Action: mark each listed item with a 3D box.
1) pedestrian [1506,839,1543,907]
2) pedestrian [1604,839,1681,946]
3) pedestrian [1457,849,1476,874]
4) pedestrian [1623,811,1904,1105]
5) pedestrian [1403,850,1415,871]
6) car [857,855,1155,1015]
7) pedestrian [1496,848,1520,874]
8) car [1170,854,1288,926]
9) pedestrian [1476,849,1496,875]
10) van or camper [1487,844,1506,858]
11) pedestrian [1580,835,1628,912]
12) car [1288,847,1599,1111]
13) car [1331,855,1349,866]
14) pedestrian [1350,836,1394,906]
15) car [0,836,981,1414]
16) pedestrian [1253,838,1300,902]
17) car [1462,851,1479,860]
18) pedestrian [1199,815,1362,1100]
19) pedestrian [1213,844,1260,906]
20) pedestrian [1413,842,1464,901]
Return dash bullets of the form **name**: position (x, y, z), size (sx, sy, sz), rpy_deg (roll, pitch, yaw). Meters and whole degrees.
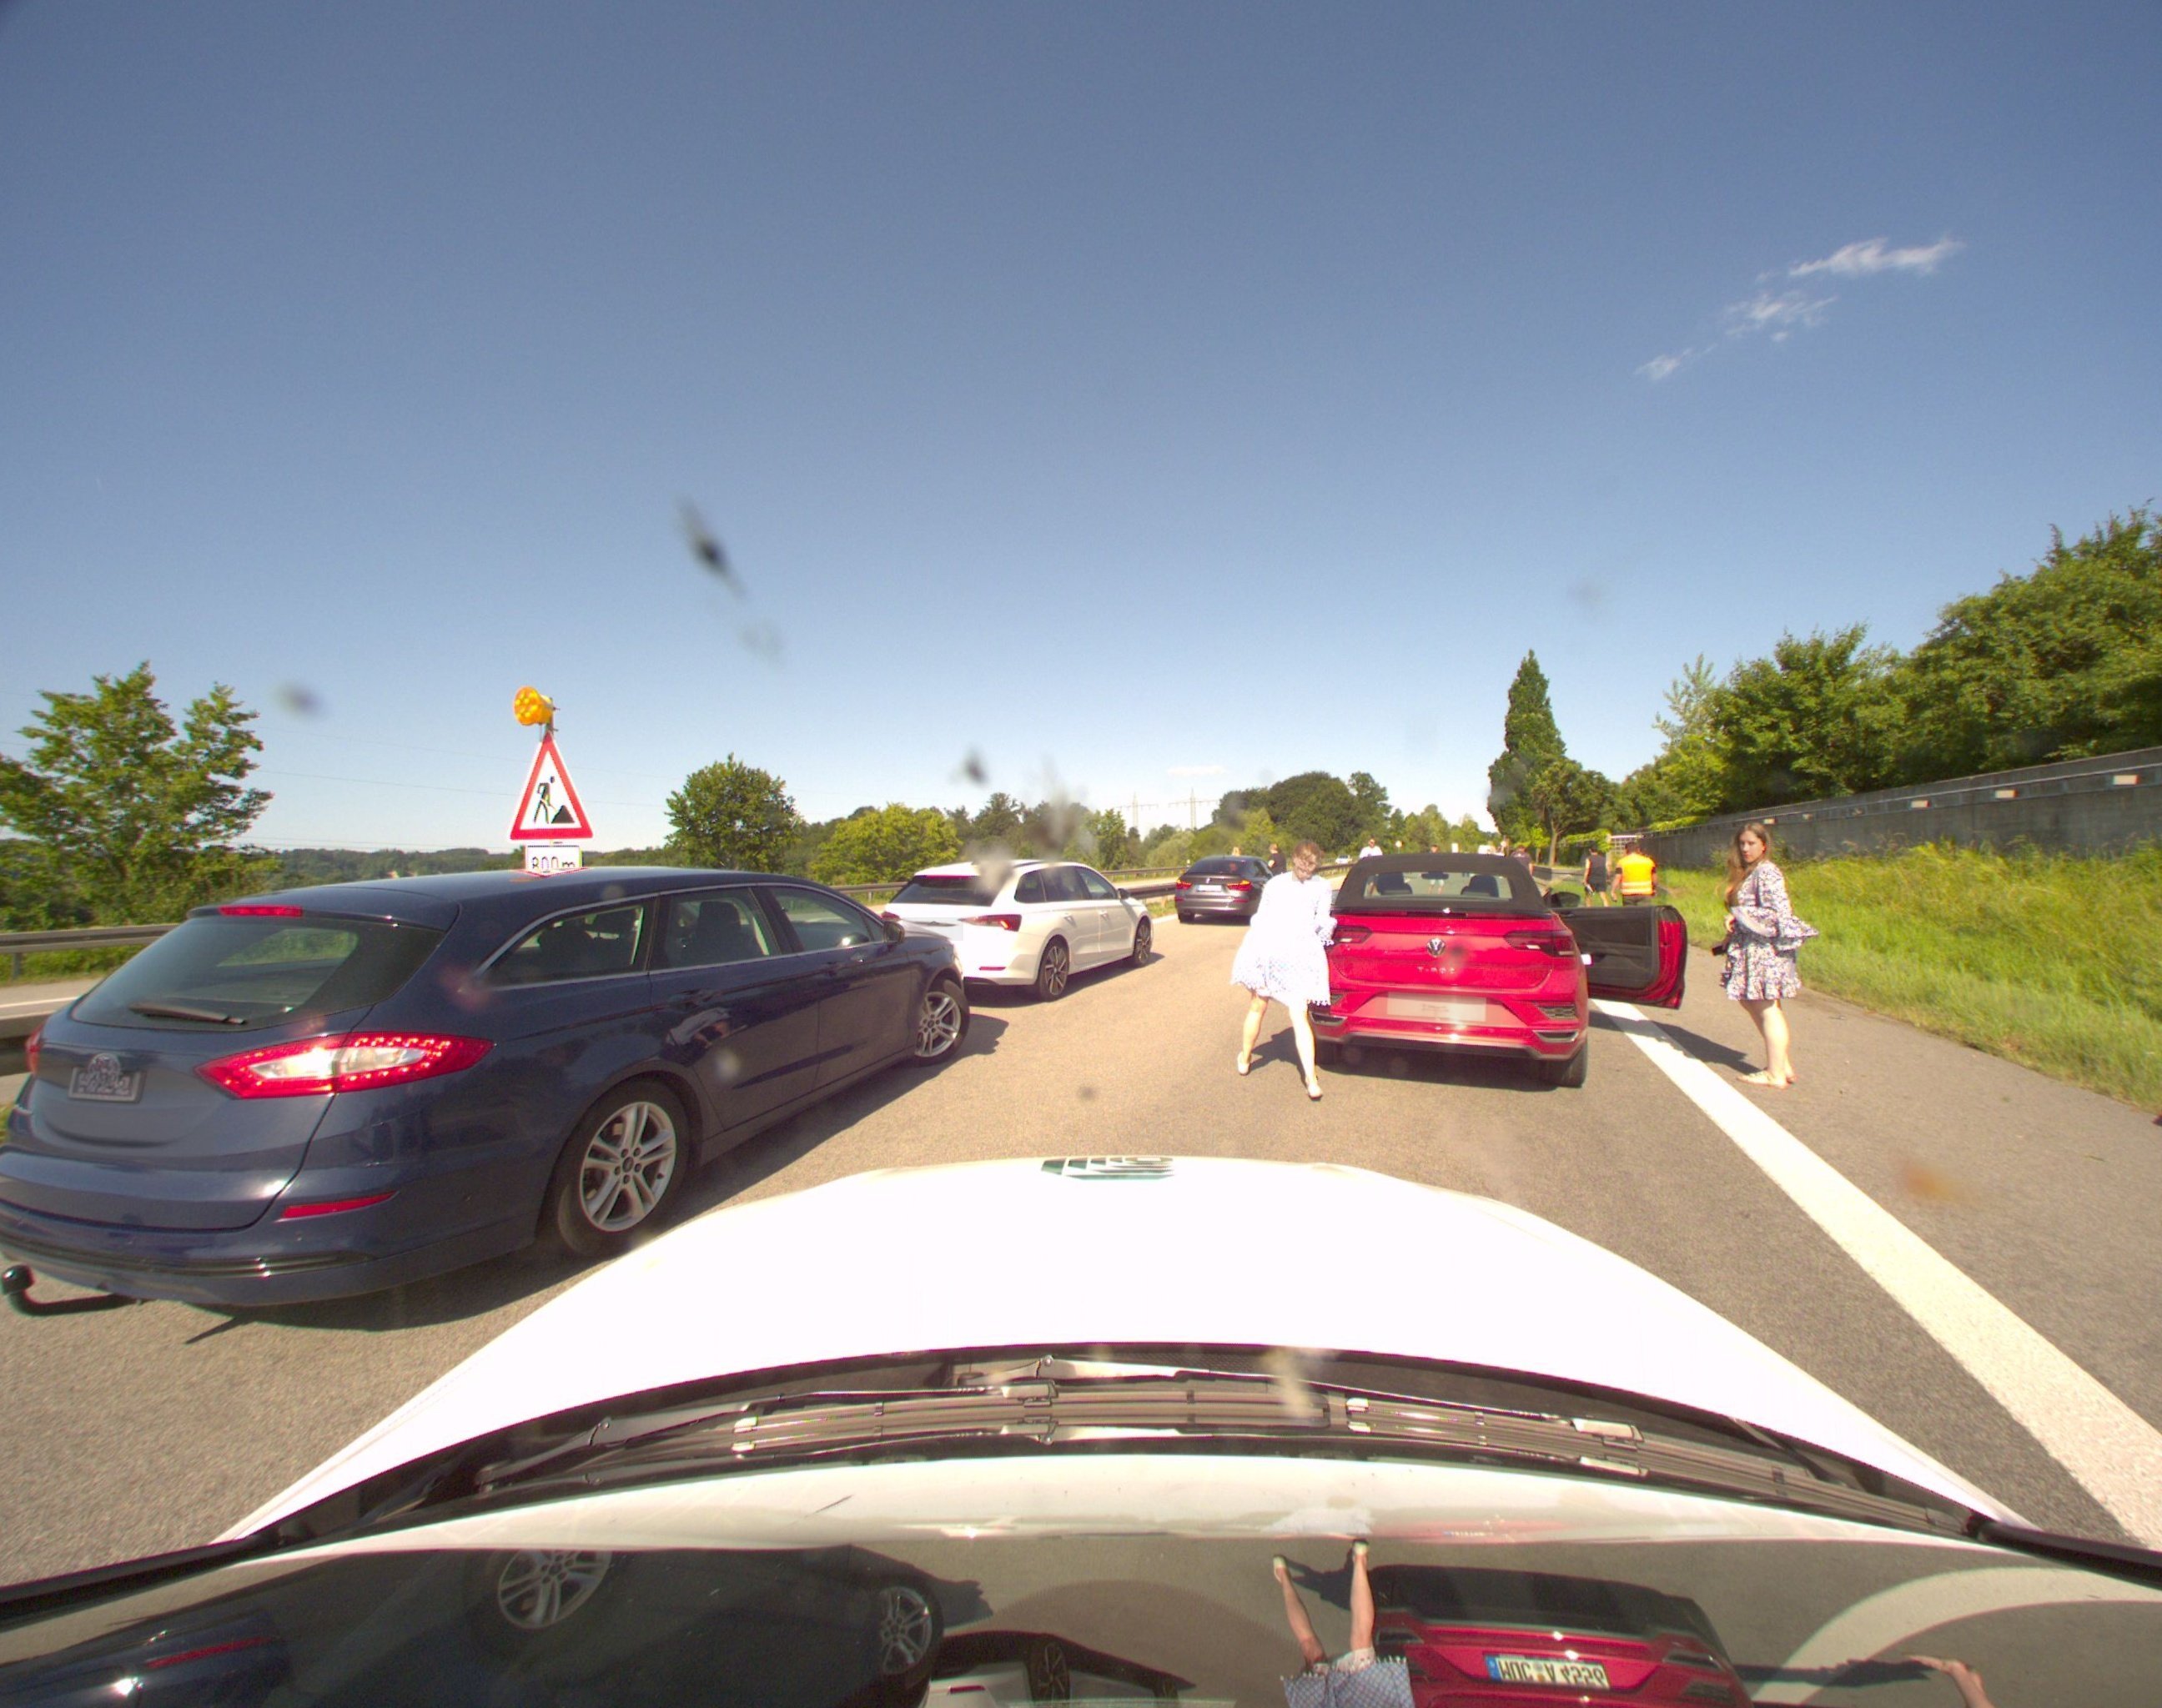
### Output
- **pedestrian**: position (11.778, 0.489, 21.655), size (0.804, 1.759, 0.833), rpy_deg (0, 0, 25)
- **pedestrian**: position (9.167, 0.598, 13.348), size (0.948, 1.654, 1.286), rpy_deg (-2, -1, 32)
- **pedestrian**: position (26.521, 0.512, 56.011), size (1.046, 1.689, 1.023), rpy_deg (0, 0, 31)
- **pedestrian**: position (4.351, 0.614, 5.317), size (1.115, 1.695, 0.897), rpy_deg (-2, -1, 19)
- **pedestrian**: position (27.076, 0.544, 67.210), size (0.784, 1.689, 0.797), rpy_deg (0, -1, 29)
- **car**: position (-0.600, 0.748, 9.726), size (1.679, 1.441, 4.234), rpy_deg (0, 0, 24)
- **pedestrian**: position (27.674, 0.445, 52.758), size (1.012, 1.689, 0.991), rpy_deg (0, 0, -26)
- **car**: position (3.511, 0.731, 18.677), size (1.679, 1.426, 4.358), rpy_deg (0, 0, 24)
- **pedestrian**: position (26.962, 0.509, 54.214), size (1.103, 1.689, 0.979), rpy_deg (0, 0, 31)
- **van or camper**: position (72.902, -0.501, 142.864), size (1.975, 2.316, 4.497), rpy_deg (0, 0, 41)
- **pedestrian**: position (11.999, 0.440, 18.706), size (0.886, 1.725, 0.759), rpy_deg (0, -1, 29)
- **car**: position (2.991, 0.698, 6.865), size (1.717, 1.487, 4.234), rpy_deg (0, 0, 24)
- **car**: position (35.086, 0.811, 110.404), size (1.679, 1.426, 4.330), rpy_deg (0, 0, 27)
- **pedestrian**: position (8.269, 0.479, 23.196), size (1.097, 1.912, 1.263), rpy_deg (-2, -1, 17)
- **car**: position (-2.267, 0.722, 4.513), size (1.775, 1.493, 4.511), rpy_deg (-2, 0, 15)
- **pedestrian**: position (5.941, 0.476, 24.724), size (1.055, 1.883, 1.100), rpy_deg (-2, -1, 29)
- **car**: position (70.733, 0.289, 147.862), size (1.716, 1.487, 4.236), rpy_deg (0, 0, 40)
- **pedestrian**: position (1.321, 0.618, 5.352), size (0.831, 1.683, 0.748), rpy_deg (-2, -1, 29)
- **pedestrian**: position (4.547, 0.596, 23.719), size (1.031, 1.763, 1.125), rpy_deg (-2, -1, 27)
- **pedestrian**: position (11.161, 0.533, 25.465), size (1.085, 1.788, 1.106), rpy_deg (0, 0, -4)
